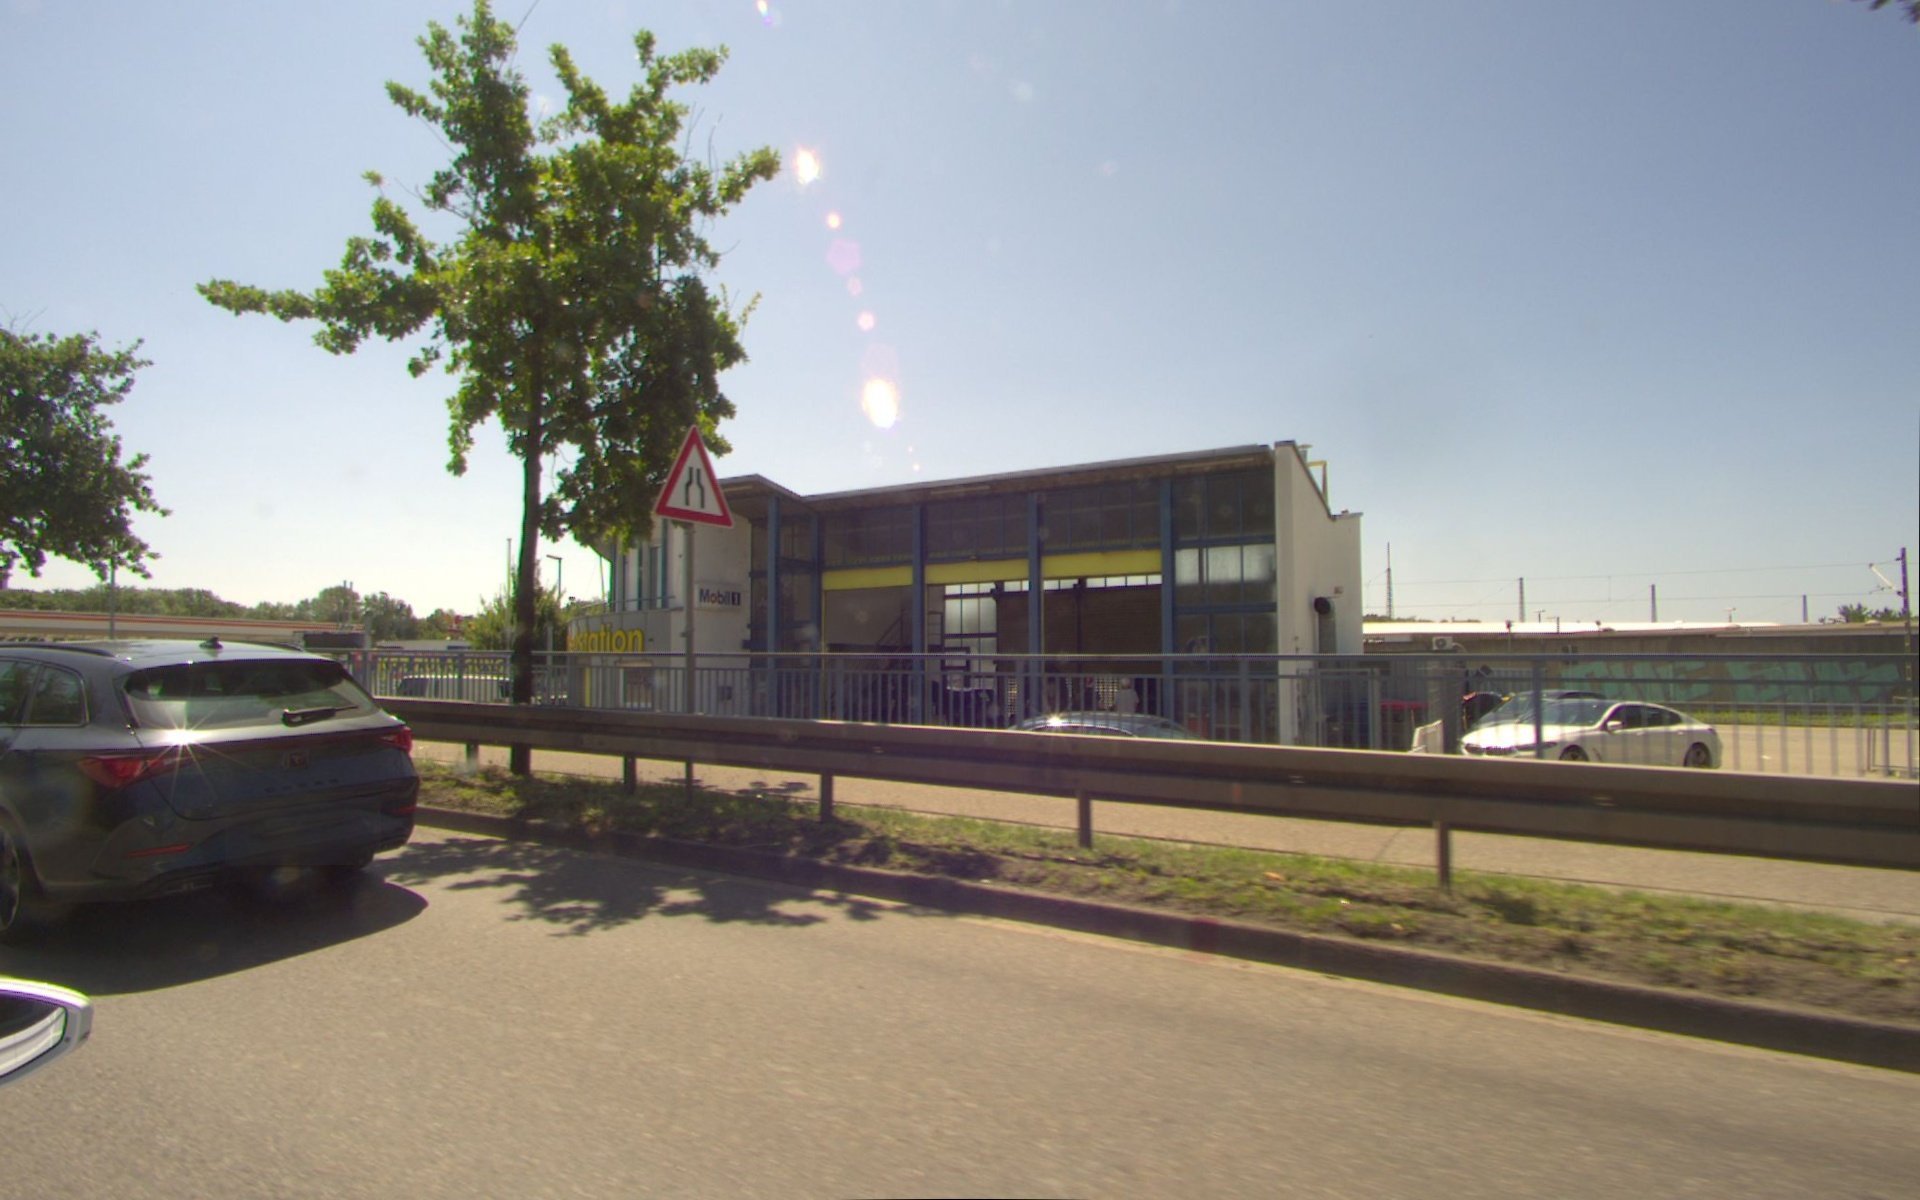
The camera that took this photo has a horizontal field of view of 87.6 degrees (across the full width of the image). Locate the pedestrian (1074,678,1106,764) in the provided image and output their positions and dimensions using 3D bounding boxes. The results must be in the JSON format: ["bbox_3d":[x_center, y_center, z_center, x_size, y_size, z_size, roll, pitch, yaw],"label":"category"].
[{"bbox_3d":[2.705,2.501,20.799,0.481,1.724,0.521,-1,-2,31],"label":"pedestrian"}]

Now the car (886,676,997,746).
[{"bbox_3d":[-0.446,2.994,27.772,1.624,1.705,3.669,-1,-3,26],"label":"car"}]

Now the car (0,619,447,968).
[{"bbox_3d":[-5.110,0.916,5.986,4.172,1.474,1.604,-2,-3,29],"label":"car"}]

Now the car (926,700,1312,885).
[{"bbox_3d":[1.671,1.940,10.950,3.844,1.551,1.630,-2,-3,32],"label":"car"}]

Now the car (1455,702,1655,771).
[{"bbox_3d":[12.527,2.844,21.145,3.547,1.268,1.479,0,-3,-12],"label":"car"}]

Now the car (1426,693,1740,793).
[{"bbox_3d":[10.781,2.382,17.348,4.997,1.374,1.996,1,-3,-21],"label":"car"}]

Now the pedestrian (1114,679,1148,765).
[{"bbox_3d":[3.500,2.481,20.502,0.581,1.724,0.425,-1,-2,30],"label":"pedestrian"}]

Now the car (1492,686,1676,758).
[{"bbox_3d":[15.788,3.034,25.340,4.325,1.578,1.653,1,-3,-21],"label":"car"}]

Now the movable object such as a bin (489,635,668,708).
[{"bbox_3d":[-21.361,3.970,57.132,2.985,3.753,11.063,-1,-3,20],"label":"movable object such as a bin"}]

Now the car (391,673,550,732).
[{"bbox_3d":[-15.731,3.240,32.455,1.572,1.680,4.593,-2,-3,29],"label":"car"}]

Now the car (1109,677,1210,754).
[{"bbox_3d":[5.091,2.831,25.221,1.624,1.705,3.669,-1,-3,26],"label":"car"}]
